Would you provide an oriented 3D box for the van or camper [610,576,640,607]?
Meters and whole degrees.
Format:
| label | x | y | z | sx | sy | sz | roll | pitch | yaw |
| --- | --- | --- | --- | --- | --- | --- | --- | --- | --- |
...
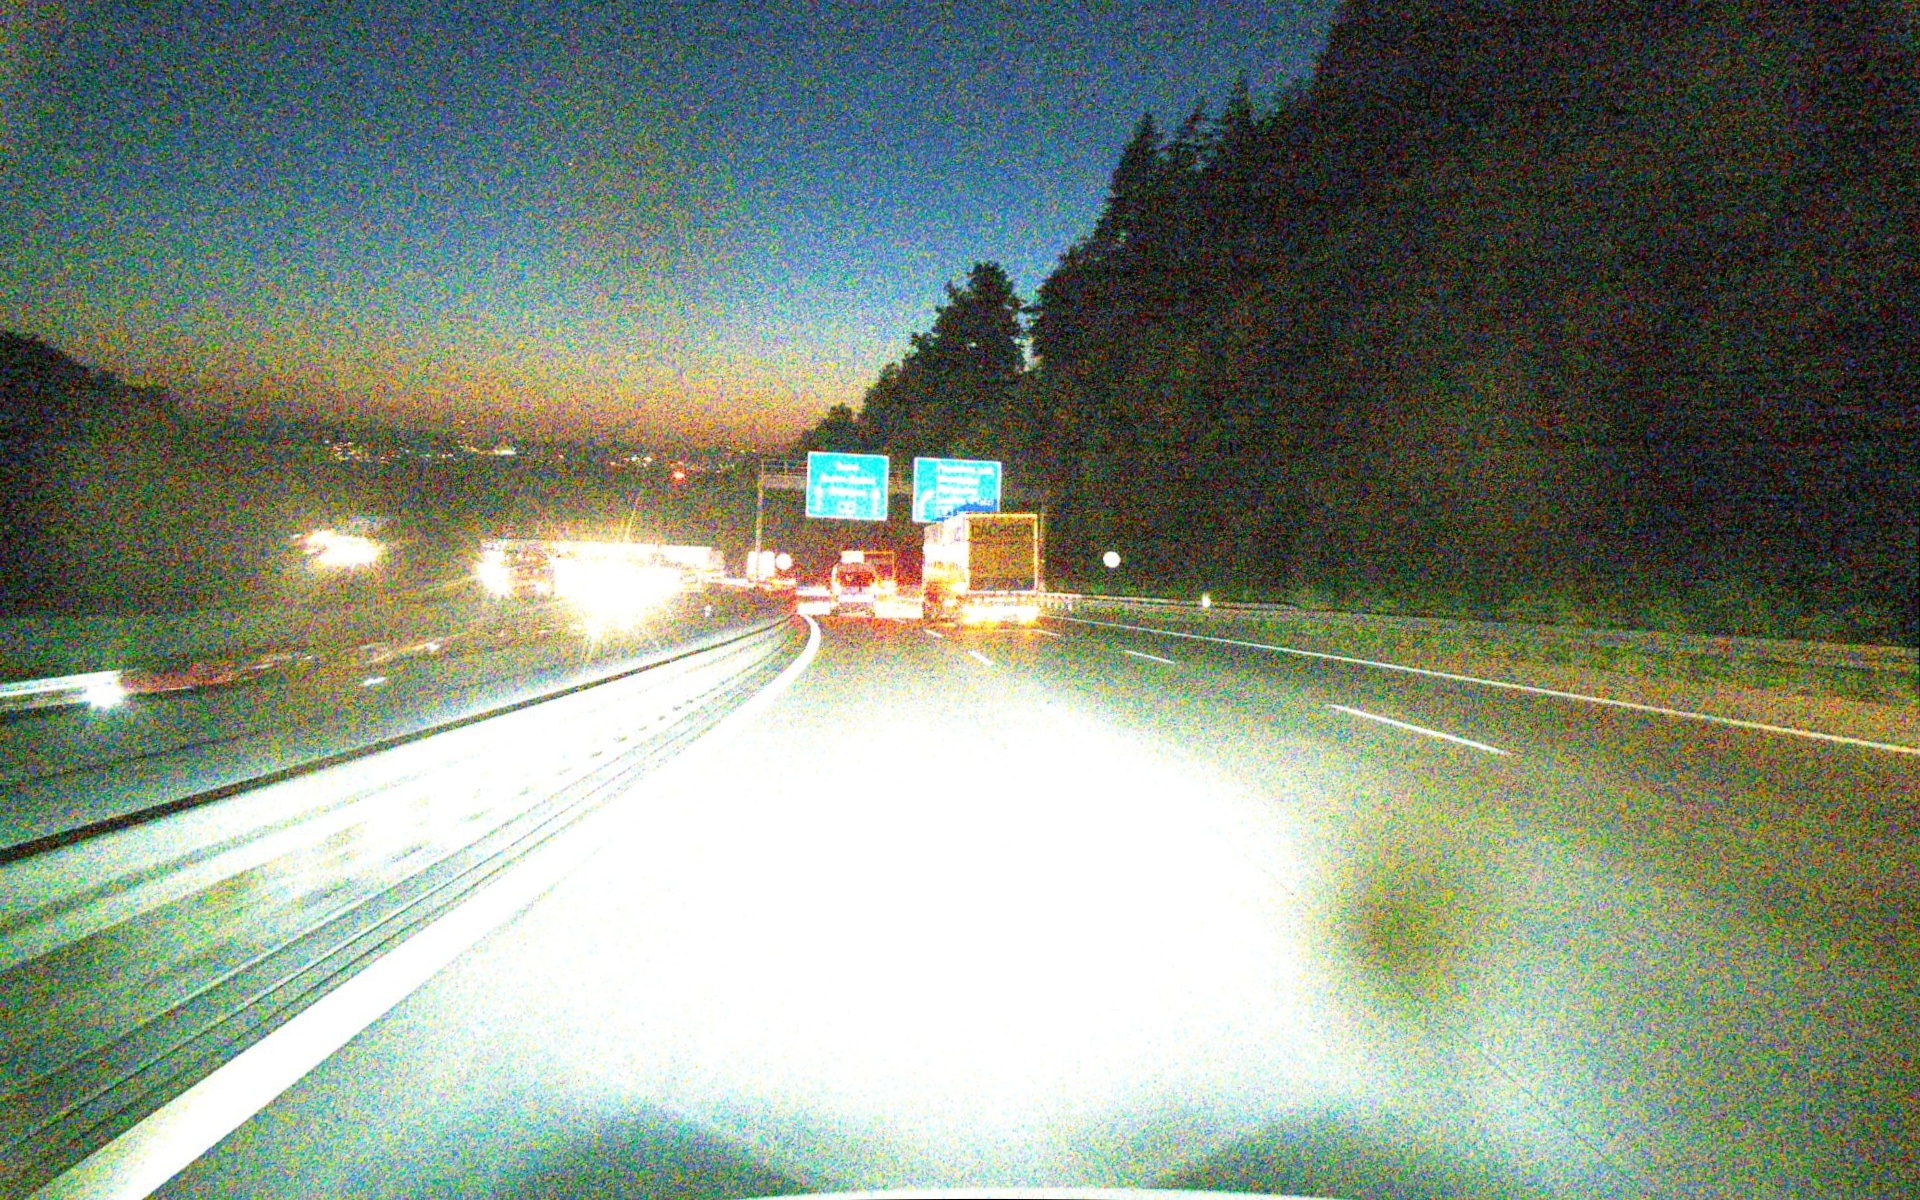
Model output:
| label | x | y | z | sx | sy | sz | roll | pitch | yaw |
| --- | --- | --- | --- | --- | --- | --- | --- | --- | --- |
| van or camper | -32.417 | -0.829 | 159.983 | 2.405 | 2.809 | 6.462 | -2 | 1 | -15 |

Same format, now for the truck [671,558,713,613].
| label | x | y | z | sx | sy | sz | roll | pitch | yaw |
| --- | --- | --- | --- | --- | --- | --- | --- | --- | --- |
| truck | -18.450 | -0.965 | 114.042 | 2.604 | 3.654 | 8.535 | 0 | 0 | -8 |

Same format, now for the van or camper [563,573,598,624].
| label | x | y | z | sx | sy | sz | roll | pitch | yaw |
| --- | --- | --- | --- | --- | --- | --- | --- | --- | --- |
| van or camper | -26.606 | -0.140 | 115.942 | 2.230 | 3.438 | 5.676 | -2 | 1 | -13 |

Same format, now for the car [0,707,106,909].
| label | x | y | z | sx | sy | sz | roll | pitch | yaw |
| --- | --- | --- | --- | --- | --- | --- | --- | --- | --- |
| car | -8.663 | 1.777 | 13.057 | 1.780 | 1.494 | 4.277 | -1 | 1 | -3 |

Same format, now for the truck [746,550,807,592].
| label | x | y | z | sx | sy | sz | roll | pitch | yaw |
| --- | --- | --- | --- | --- | --- | --- | --- | --- | --- |
| truck | -22.493 | -3.631 | 201.476 | 3.852 | 4.707 | 20.928 | -2 | 2 | -16 |

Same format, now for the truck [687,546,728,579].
| label | x | y | z | sx | sy | sz | roll | pitch | yaw |
| --- | --- | --- | --- | --- | --- | --- | --- | --- | --- |
| truck | -36.774 | -5.534 | 240.387 | 3.294 | 4.553 | 13.835 | 2 | 1 | -19 |

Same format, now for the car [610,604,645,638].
| label | x | y | z | sx | sy | sz | roll | pitch | yaw |
| --- | --- | --- | --- | --- | --- | --- | --- | --- | --- |
| car | -15.918 | 1.041 | 79.109 | 1.578 | 1.505 | 4.060 | 1 | -2 | -12 |

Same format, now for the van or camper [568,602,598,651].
| label | x | y | z | sx | sy | sz | roll | pitch | yaw |
| --- | --- | --- | --- | --- | --- | --- | --- | --- | --- |
| van or camper | -24.926 | 1.689 | 109.495 | 1.802 | 3.023 | 6.379 | -2 | 1 | -13 |

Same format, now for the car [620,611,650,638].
| label | x | y | z | sx | sy | sz | roll | pitch | yaw |
| --- | --- | --- | --- | --- | --- | --- | --- | --- | --- |
| car | -19.413 | 1.449 | 98.849 | 1.571 | 1.467 | 3.992 | -2 | 1 | -9 |

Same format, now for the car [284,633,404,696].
| label | x | y | z | sx | sy | sz | roll | pitch | yaw |
| --- | --- | --- | --- | --- | --- | --- | --- | --- | --- |
| car | -16.818 | 1.736 | 45.328 | 1.800 | 1.467 | 4.000 | -1 | 1 | -1 |

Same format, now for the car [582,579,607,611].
| label | x | y | z | sx | sy | sz | roll | pitch | yaw |
| --- | --- | --- | --- | --- | --- | --- | --- | --- | --- |
| car | -28.997 | -0.432 | 131.115 | 1.802 | 2.411 | 5.429 | -2 | 1 | -13 |

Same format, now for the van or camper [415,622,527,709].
| label | x | y | z | sx | sy | sz | roll | pitch | yaw |
| --- | --- | --- | --- | --- | --- | --- | --- | --- | --- |
| van or camper | -13.354 | 1.729 | 45.466 | 1.955 | 2.049 | 5.215 | -2 | 1 | -6 |

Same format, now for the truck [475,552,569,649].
| label | x | y | z | sx | sy | sz | roll | pitch | yaw |
| --- | --- | --- | --- | --- | --- | --- | --- | --- | --- |
| truck | -20.746 | -0.004 | 78.649 | 3.354 | 4.296 | 6.273 | -2 | 1 | -7 |

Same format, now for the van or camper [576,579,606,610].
| label | x | y | z | sx | sy | sz | roll | pitch | yaw |
| --- | --- | --- | --- | --- | --- | --- | --- | --- | --- |
| van or camper | -35.382 | -0.536 | 158.539 | 2.405 | 2.809 | 6.462 | -2 | 1 | -15 |

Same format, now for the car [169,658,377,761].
| label | x | y | z | sx | sy | sz | roll | pitch | yaw |
| --- | --- | --- | --- | --- | --- | --- | --- | --- | --- |
| car | -13.049 | 2.017 | 31.807 | 2.097 | 1.516 | 5.109 | -2 | 1 | -4 |

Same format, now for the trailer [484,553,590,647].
| label | x | y | z | sx | sy | sz | roll | pitch | yaw |
| --- | --- | --- | --- | --- | --- | --- | --- | --- | --- |
| trailer | -21.469 | -0.075 | 84.806 | 3.370 | 4.314 | 12.814 | -2 | 1 | -6 |

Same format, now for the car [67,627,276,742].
| label | x | y | z | sx | sy | sz | roll | pitch | yaw |
| --- | --- | --- | --- | --- | --- | --- | --- | --- | --- |
| car | -16.855 | 1.736 | 35.695 | 2.096 | 2.090 | 5.111 | -1 | 1 | -1 |

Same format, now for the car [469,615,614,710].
| label | x | y | z | sx | sy | sz | roll | pitch | yaw |
| --- | --- | --- | --- | --- | --- | --- | --- | --- | --- |
| car | -8.960 | 1.283 | 35.836 | 2.097 | 1.735 | 5.109 | -2 | 1 | -4 |

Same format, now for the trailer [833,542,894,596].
| label | x | y | z | sx | sy | sz | roll | pitch | yaw |
| --- | --- | --- | --- | --- | --- | --- | --- | --- | --- |
| trailer | -8.148 | -2.713 | 137.713 | 2.805 | 4.137 | 13.162 | -1 | 3 | -13 |

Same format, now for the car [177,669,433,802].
| label | x | y | z | sx | sy | sz | roll | pitch | yaw |
| --- | --- | --- | --- | --- | --- | --- | --- | --- | --- |
| car | -9.735 | 1.953 | 25.103 | 2.097 | 1.476 | 5.109 | -2 | 1 | -4 |

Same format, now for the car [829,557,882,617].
| label | x | y | z | sx | sy | sz | roll | pitch | yaw |
| --- | --- | --- | --- | --- | --- | --- | --- | --- | --- |
| car | -5.061 | -0.617 | 79.444 | 2.292 | 2.686 | 5.241 | 2 | 0 | -6 |

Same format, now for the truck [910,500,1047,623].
| label | x | y | z | sx | sy | sz | roll | pitch | yaw |
| --- | --- | --- | --- | --- | --- | --- | --- | --- | --- |
| truck | 0.362 | -1.385 | 66.034 | 3.415 | 4.207 | 18.686 | 0 | 0 | -6 |
